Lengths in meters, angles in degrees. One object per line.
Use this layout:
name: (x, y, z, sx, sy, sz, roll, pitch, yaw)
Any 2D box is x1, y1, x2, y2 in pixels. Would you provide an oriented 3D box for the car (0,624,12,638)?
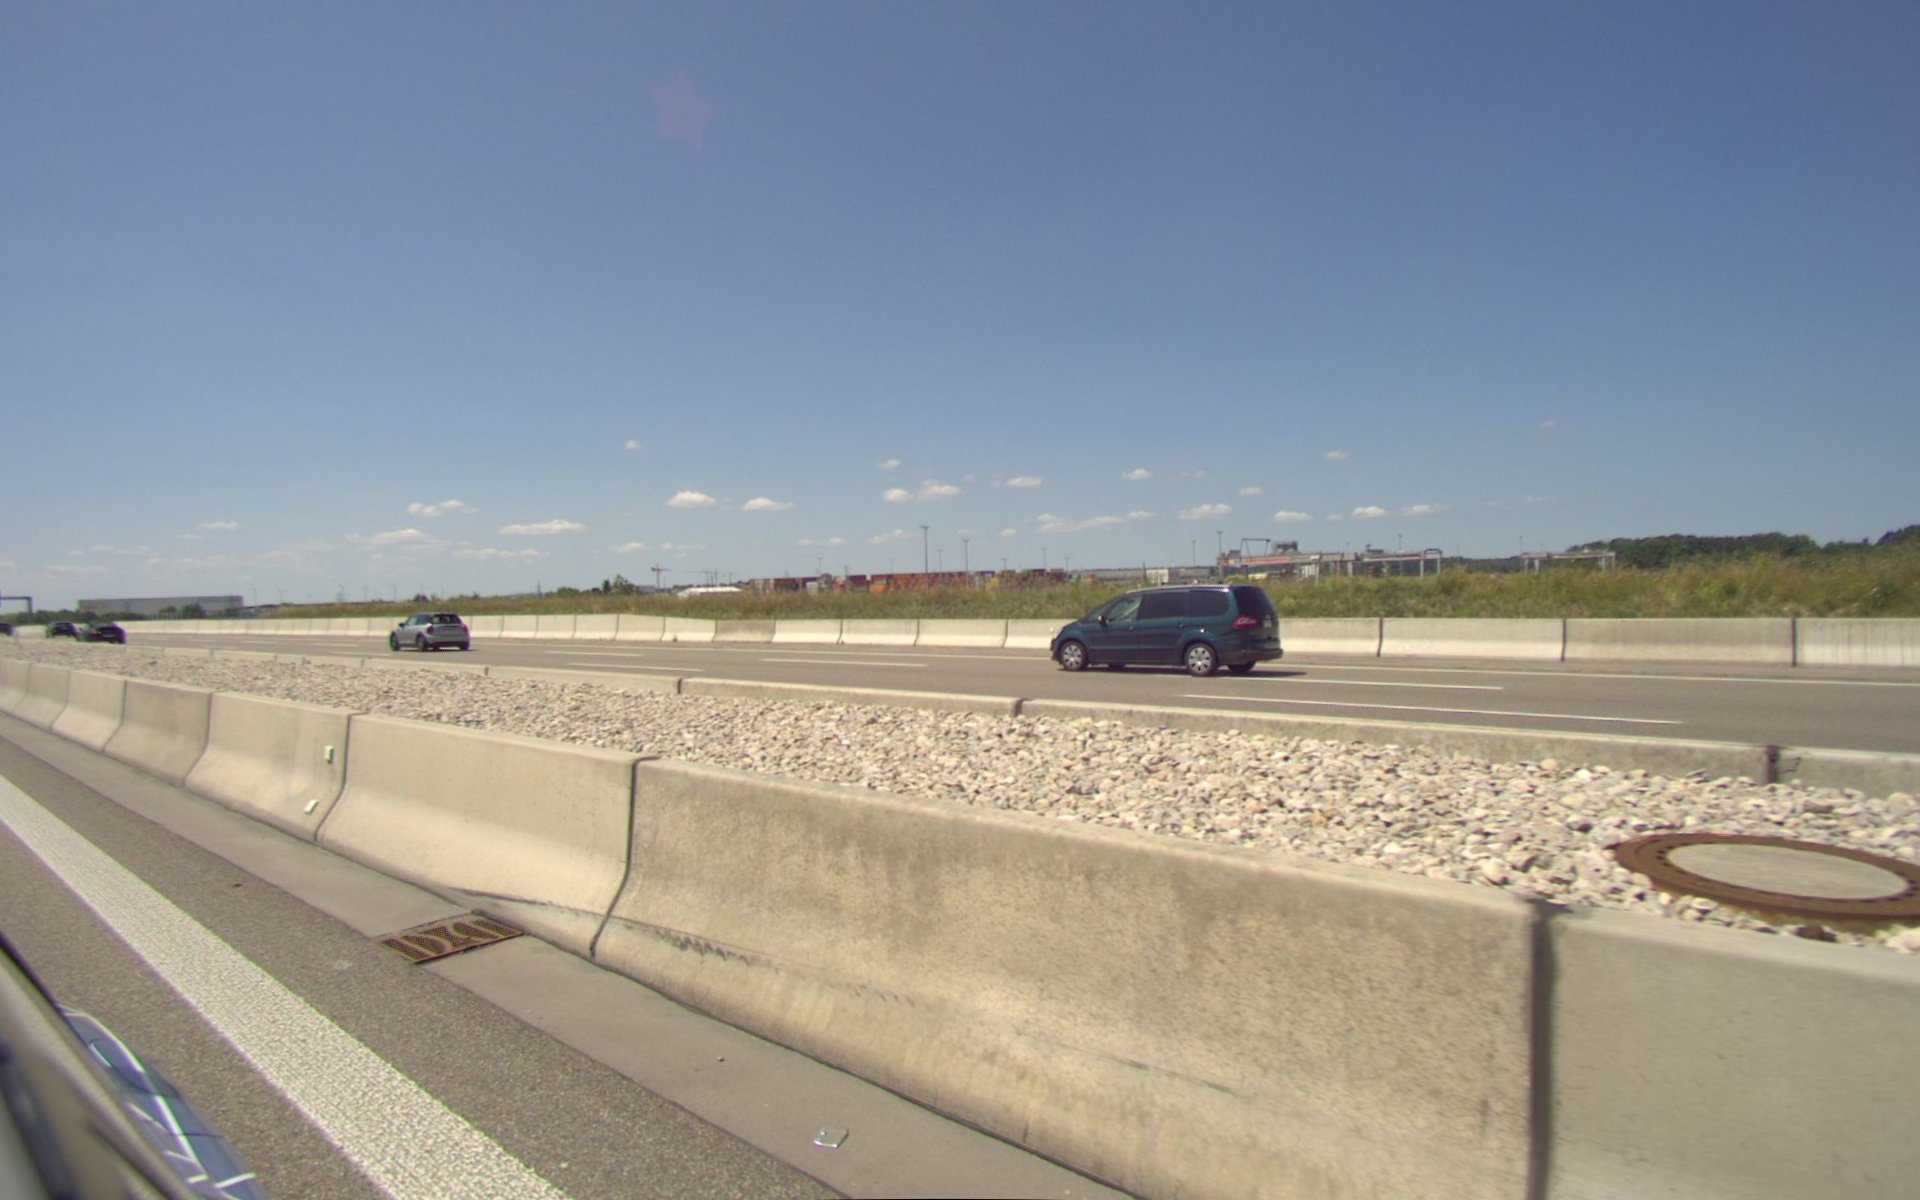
car: (-109.909, 3.567, 115.565, 5.133, 1.502, 1.850, -1, 0, 40)

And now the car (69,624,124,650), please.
car: (-50.096, 2.122, 58.694, 4.750, 1.392, 1.825, -1, 0, 42)

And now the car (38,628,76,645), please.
car: (-78.304, 3.177, 87.744, 4.362, 1.389, 1.973, -2, 0, 42)

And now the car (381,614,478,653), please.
car: (-19.782, 1.244, 37.710, 3.983, 1.339, 1.871, -2, 0, 41)

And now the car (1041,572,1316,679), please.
car: (4.125, 0.474, 19.649, 4.917, 1.837, 1.828, -1, 0, 40)
